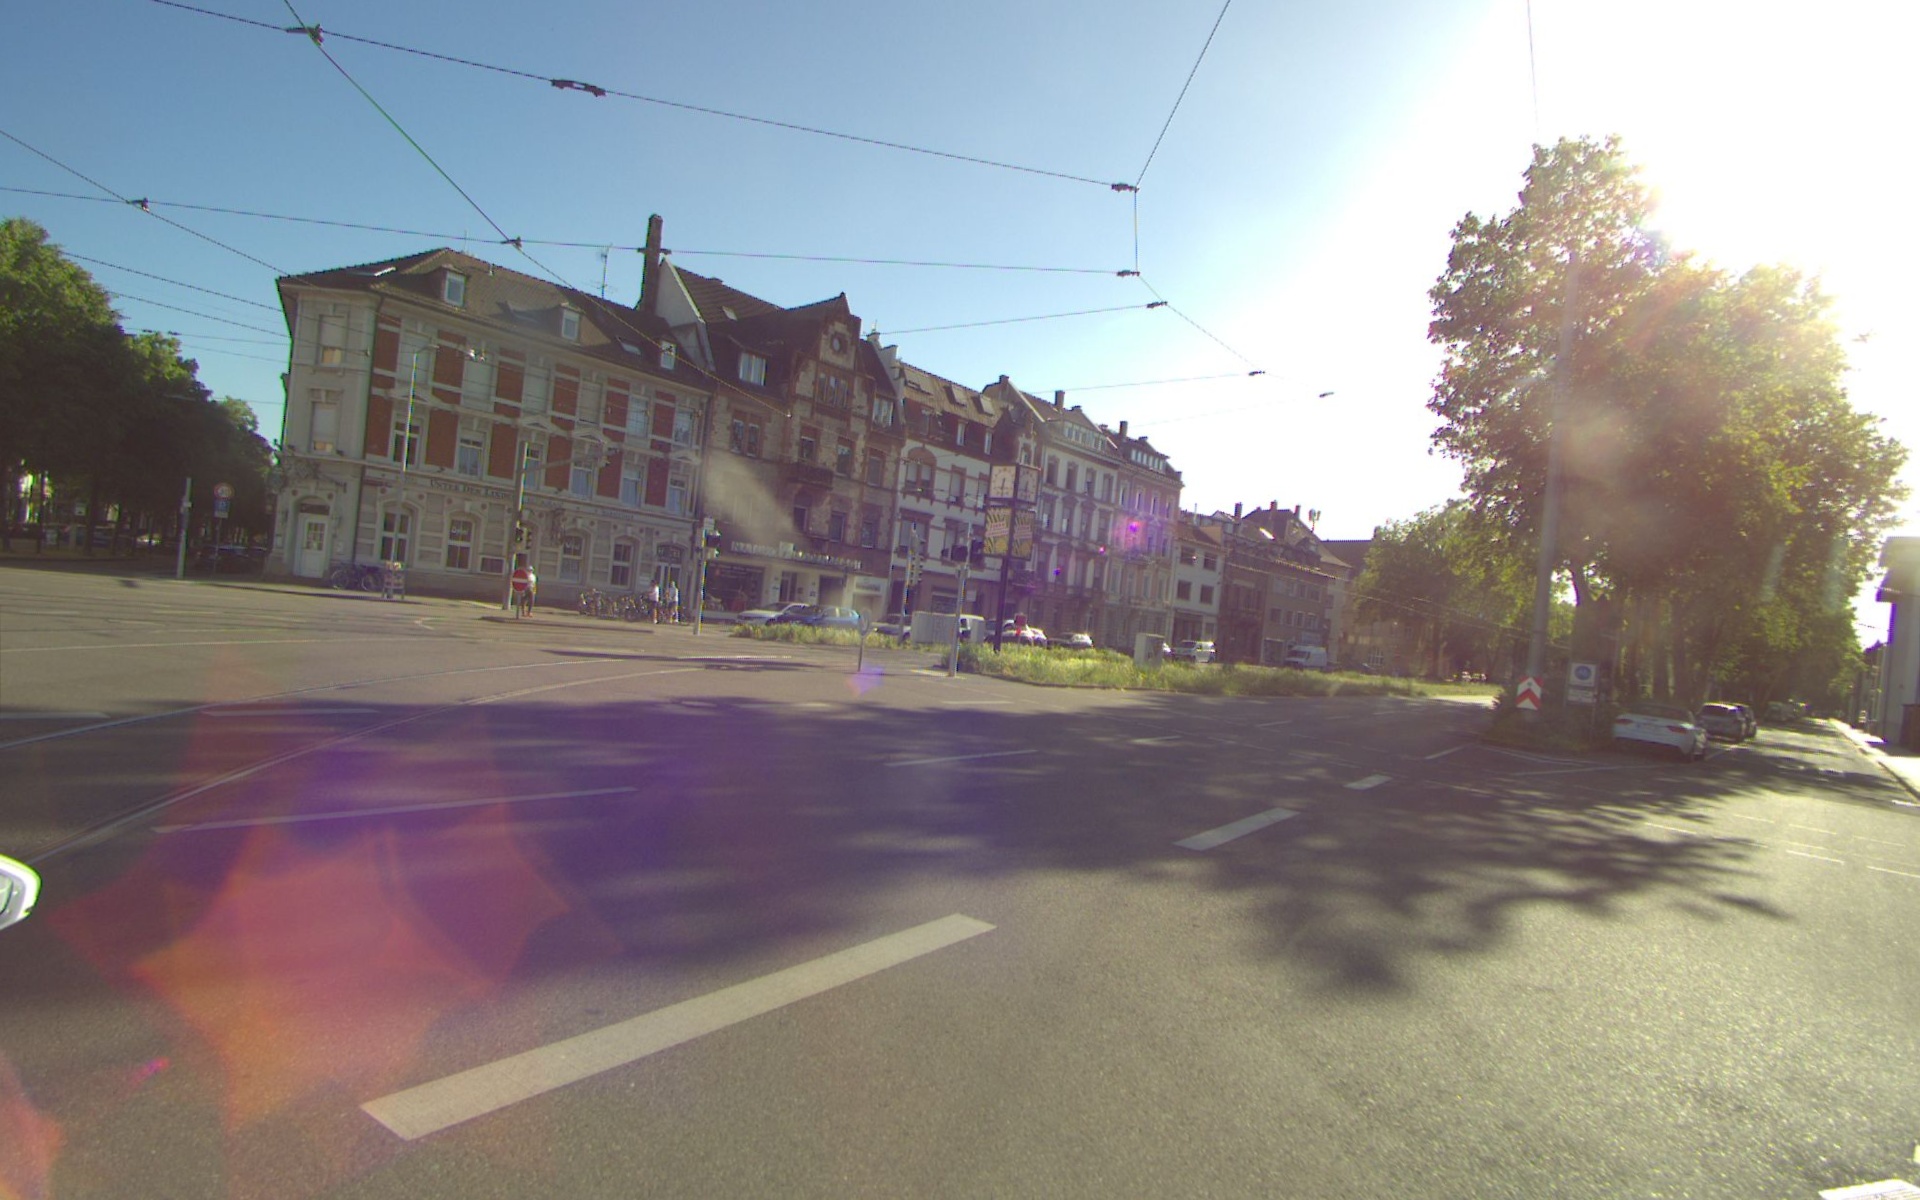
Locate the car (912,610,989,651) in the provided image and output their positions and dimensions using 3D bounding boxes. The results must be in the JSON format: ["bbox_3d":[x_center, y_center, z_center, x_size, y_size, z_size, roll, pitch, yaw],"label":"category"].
[{"bbox_3d":[-0.520,1.794,58.669,1.927,1.989,4.398,6,-1,40],"label":"car"}]

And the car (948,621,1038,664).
[{"bbox_3d":[1.687,2.084,49.317,1.927,1.688,4.467,6,-1,40],"label":"car"}]

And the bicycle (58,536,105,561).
[{"bbox_3d":[-44.905,-2.629,51.432,1.912,1.080,0.584,6,0,5],"label":"bicycle"}]

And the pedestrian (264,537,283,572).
[{"bbox_3d":[-34.982,-2.313,51.267,0.586,1.657,0.575,6,-7,-30],"label":"pedestrian"}]

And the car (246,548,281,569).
[{"bbox_3d":[-59.054,-3.538,85.341,1.979,1.515,4.002,6,-1,-31],"label":"car"}]

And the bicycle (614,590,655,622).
[{"bbox_3d":[-13.871,0.251,42.827,1.941,1.205,0.676,6,0,43],"label":"bicycle"}]

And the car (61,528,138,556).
[{"bbox_3d":[-65.664,-4.417,76.846,3.944,1.564,1.991,6,0,-21],"label":"car"}]

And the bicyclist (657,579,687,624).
[{"bbox_3d":[-12.203,0.073,42.680,0.592,1.786,0.902,6,0,38],"label":"bicyclist"}]

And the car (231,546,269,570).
[{"bbox_3d":[-54.574,-3.250,77.412,1.979,1.515,4.002,6,-1,-31],"label":"car"}]

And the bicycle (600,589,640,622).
[{"bbox_3d":[-14.318,0.215,42.323,1.941,1.205,0.676,6,0,43],"label":"bicycle"}]

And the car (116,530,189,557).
[{"bbox_3d":[-64.174,-4.481,80.031,3.941,1.564,1.992,6,0,-18],"label":"car"}]

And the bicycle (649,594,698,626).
[{"bbox_3d":[-12.163,0.440,42.785,0.592,1.205,1.960,6,0,37],"label":"bicycle"}]

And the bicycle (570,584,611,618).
[{"bbox_3d":[-15.170,0.018,41.284,1.941,1.205,0.676,6,0,43],"label":"bicycle"}]

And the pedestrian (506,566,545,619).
[{"bbox_3d":[-14.788,-0.247,34.225,0.925,1.690,0.715,6,0,35],"label":"pedestrian"}]

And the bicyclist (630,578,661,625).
[{"bbox_3d":[-12.728,0.062,40.724,0.594,1.786,0.870,6,0,44],"label":"bicyclist"}]

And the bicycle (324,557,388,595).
[{"bbox_3d":[-22.975,-0.910,38.278,1.955,1.205,0.539,7,0,-44],"label":"bicycle"}]

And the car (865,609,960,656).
[{"bbox_3d":[-2.077,1.485,44.837,1.927,1.688,3.982,6,-1,40],"label":"car"}]

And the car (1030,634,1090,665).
[{"bbox_3d":[6.763,3.358,67.831,1.927,1.688,3.982,6,-1,40],"label":"car"}]

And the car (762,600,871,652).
[{"bbox_3d":[-5.781,1.080,40.811,1.927,1.688,3.982,6,-1,40],"label":"car"}]

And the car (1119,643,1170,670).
[{"bbox_3d":[13.998,4.290,76.139,1.927,1.688,3.982,6,-1,40],"label":"car"}]

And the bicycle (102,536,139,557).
[{"bbox_3d":[-54.424,-3.465,65.230,1.912,1.080,0.584,6,0,5],"label":"bicycle"}]

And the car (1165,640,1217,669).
[{"bbox_3d":[18.725,4.421,81.391,1.927,1.884,4.782,6,-1,40],"label":"car"}]

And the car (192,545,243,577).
[{"bbox_3d":[-40.933,-2.171,55.517,1.981,1.515,3.997,7,-1,-34],"label":"car"}]

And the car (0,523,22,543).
[{"bbox_3d":[-80.409,-5.657,84.268,1.981,1.515,3.997,7,-1,-34],"label":"car"}]

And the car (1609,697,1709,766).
[{"bbox_3d":[19.030,3.508,27.322,1.890,1.471,4.486,6,-1,38],"label":"car"}]

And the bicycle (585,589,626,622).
[{"bbox_3d":[-14.747,0.215,41.832,1.941,1.205,0.676,6,0,43],"label":"bicycle"}]

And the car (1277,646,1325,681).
[{"bbox_3d":[33.529,6.279,98.697,2.172,2.944,5.932,6,-1,40],"label":"car"}]

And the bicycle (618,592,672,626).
[{"bbox_3d":[-12.745,0.368,40.749,0.594,1.205,1.956,6,0,44],"label":"bicycle"}]

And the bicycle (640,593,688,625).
[{"bbox_3d":[-12.772,0.385,43.503,0.668,1.205,1.964,6,-1,30],"label":"bicycle"}]

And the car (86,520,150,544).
[{"bbox_3d":[-76.924,-6.177,91.957,3.944,1.564,1.991,6,0,-21],"label":"car"}]

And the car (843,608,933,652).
[{"bbox_3d":[-3.403,1.435,48.112,1.927,1.688,3.982,6,-1,40],"label":"car"}]

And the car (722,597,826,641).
[{"bbox_3d":[-7.886,0.819,42.903,1.820,1.429,3.982,6,-1,40],"label":"car"}]

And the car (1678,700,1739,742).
[{"bbox_3d":[32.217,5.170,43.276,1.890,1.471,4.486,6,-1,38],"label":"car"}]
